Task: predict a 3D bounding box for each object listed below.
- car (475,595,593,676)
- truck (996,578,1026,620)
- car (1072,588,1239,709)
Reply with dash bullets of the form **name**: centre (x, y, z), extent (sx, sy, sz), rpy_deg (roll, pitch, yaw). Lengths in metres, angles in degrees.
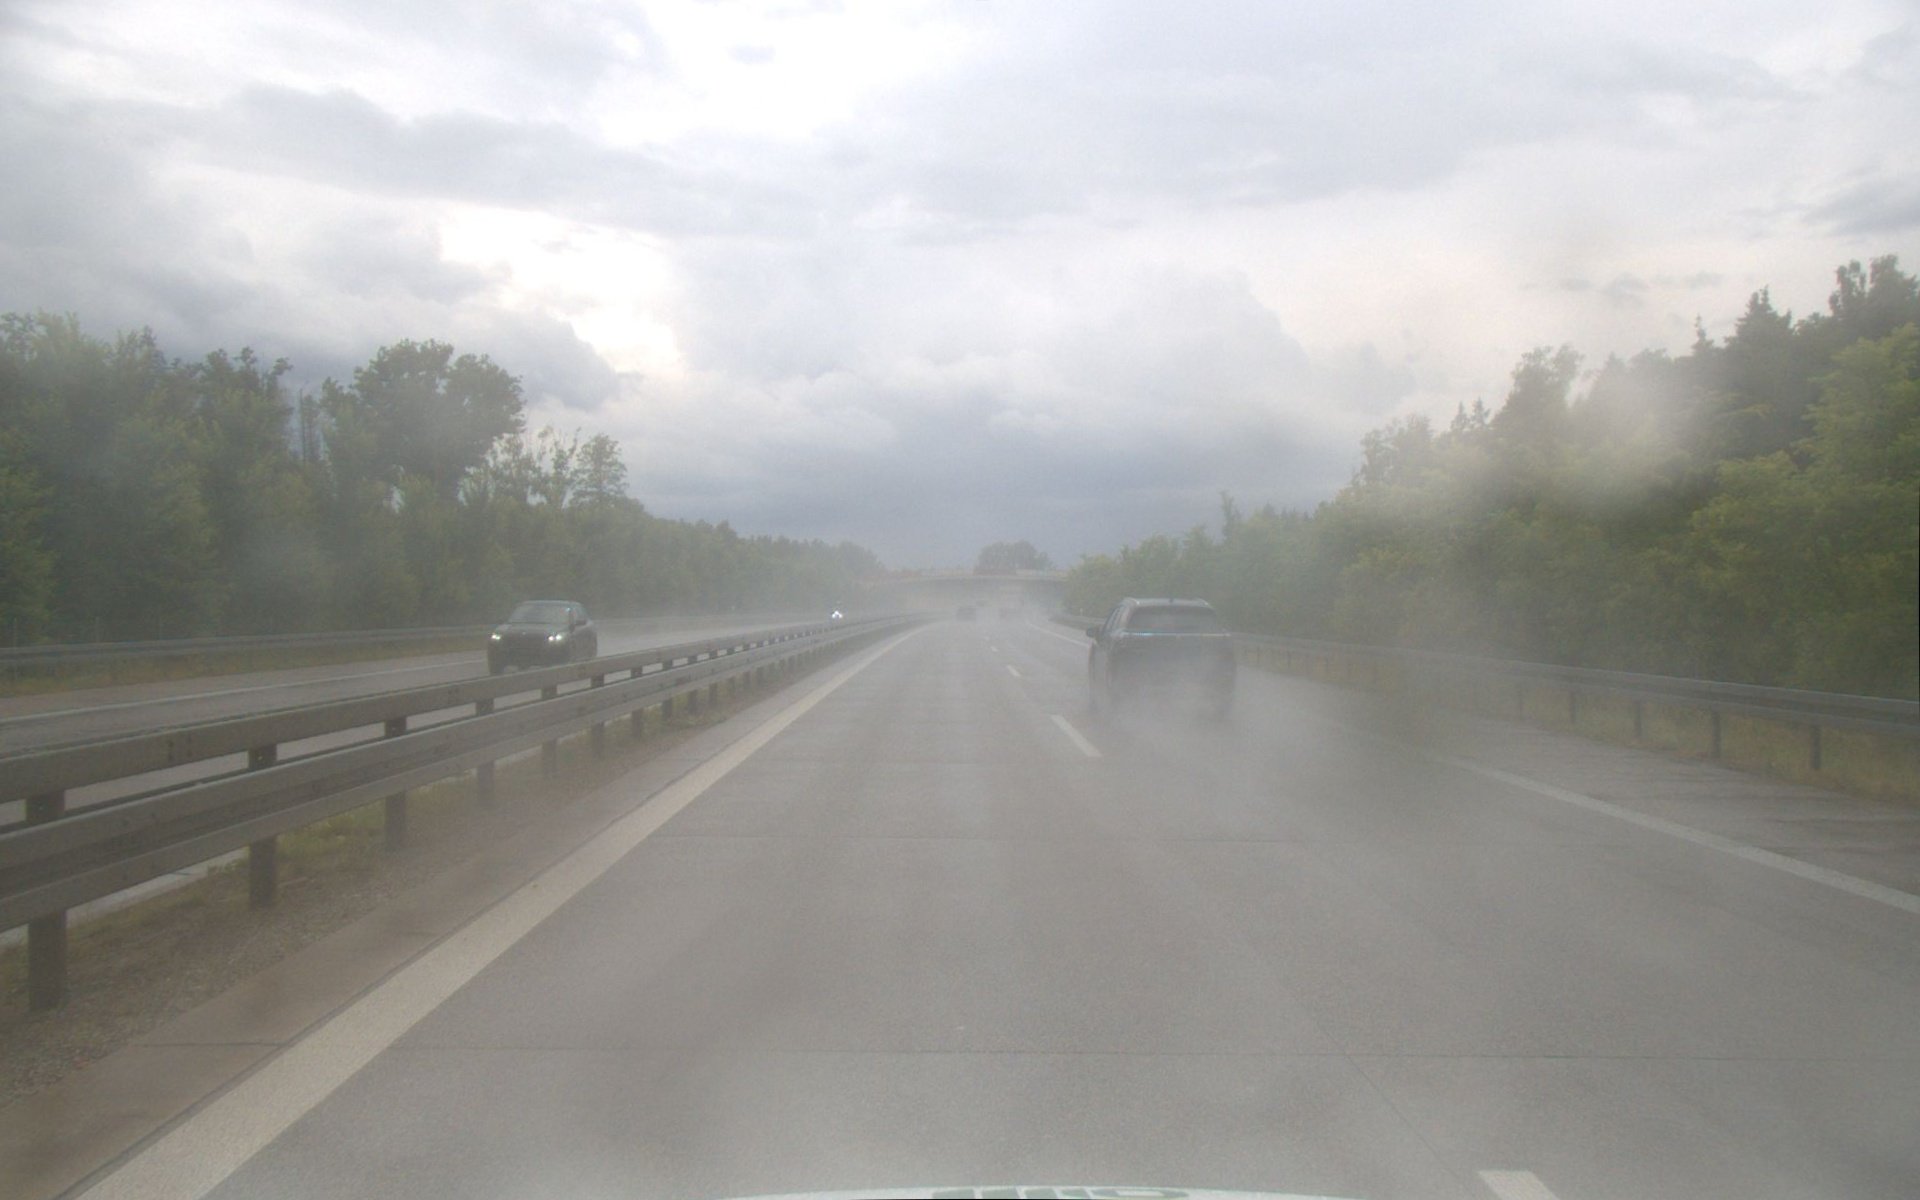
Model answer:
- **car**: centre (-9.664, 0.760, 37.813), extent (1.758, 1.647, 3.998), rpy_deg (-2, 1, -3)
- **truck**: centre (5.547, -0.060, 180.997), extent (3.176, 4.515, 8.247), rpy_deg (0, 0, 2)
- **car**: centre (2.775, 0.678, 24.193), extent (1.856, 1.603, 3.630), rpy_deg (1, -1, -3)
